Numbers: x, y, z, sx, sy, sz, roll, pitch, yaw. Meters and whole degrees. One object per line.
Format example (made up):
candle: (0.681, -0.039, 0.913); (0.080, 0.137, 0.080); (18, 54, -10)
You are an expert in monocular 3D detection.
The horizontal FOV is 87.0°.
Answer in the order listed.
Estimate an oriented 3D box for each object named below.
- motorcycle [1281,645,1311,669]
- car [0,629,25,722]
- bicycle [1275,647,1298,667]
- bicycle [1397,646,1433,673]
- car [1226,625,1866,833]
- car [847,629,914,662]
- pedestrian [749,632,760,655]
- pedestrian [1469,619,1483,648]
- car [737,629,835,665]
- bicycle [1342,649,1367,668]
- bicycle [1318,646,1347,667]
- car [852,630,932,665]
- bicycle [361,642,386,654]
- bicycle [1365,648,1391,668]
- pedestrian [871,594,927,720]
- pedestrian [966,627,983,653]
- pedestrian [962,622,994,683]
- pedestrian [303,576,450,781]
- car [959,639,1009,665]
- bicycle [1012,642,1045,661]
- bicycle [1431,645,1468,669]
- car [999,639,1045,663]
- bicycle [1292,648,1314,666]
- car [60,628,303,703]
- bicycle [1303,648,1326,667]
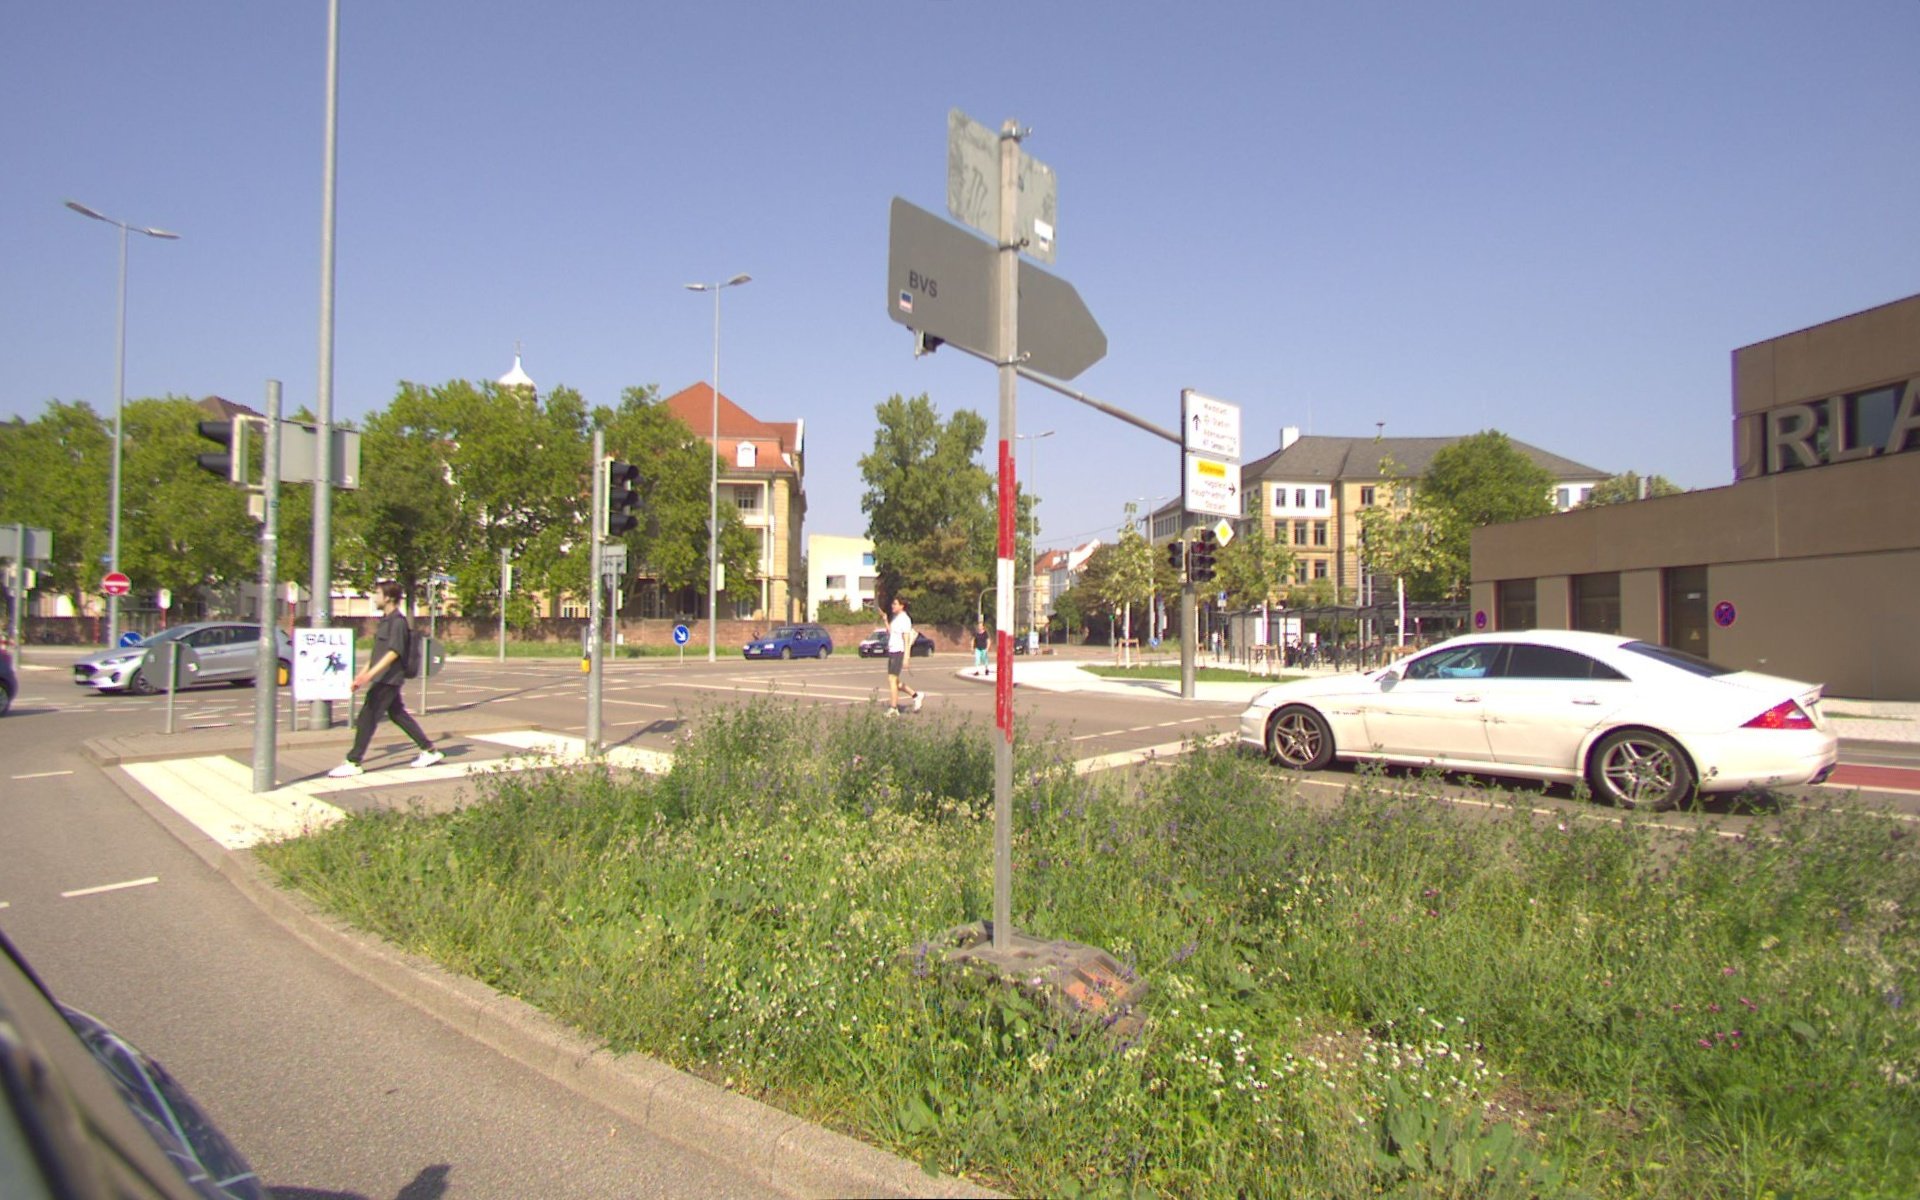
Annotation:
motorcycle: (14.629, 2.475, 44.088); (0.534, 1.017, 1.748); (0, -2, -7)
car: (-15.679, 1.143, 13.918); (1.618, 1.438, 4.321); (0, -1, 0)
bicycle: (16.120, 2.797, 50.017); (0.415, 0.975, 1.590); (0, -2, -7)
bicycle: (17.562, 2.302, 39.098); (0.395, 1.017, 1.748); (0, -2, -7)
car: (5.086, 0.949, 9.360); (1.821, 1.372, 4.822); (0, -1, -45)
car: (-4.460, 2.571, 57.145); (1.750, 1.691, 3.957); (-4, -4, 31)
pedestrian: (-14.959, 3.148, 73.757); (0.707, 1.696, 0.595); (0, -3, -4)
pedestrian: (31.626, 2.068, 62.023); (0.713, 1.762, 0.385); (-1, -3, 26)
car: (-6.786, 1.839, 39.972); (1.599, 1.339, 4.294); (-1, -2, 26)
bicycle: (18.696, 2.759, 48.010); (0.403, 0.899, 1.590); (0, -2, -7)
bicycle: (17.724, 2.692, 48.189); (0.525, 0.994, 1.716); (0, -2, -7)
car: (-3.142, 2.210, 47.649); (1.990, 1.564, 3.962); (-1, -2, 27)
bicycle: (-42.130, 3.424, 72.734); (1.529, 0.842, 0.433); (0, -3, 3)
bicycle: (19.862, 2.747, 48.075); (0.403, 0.899, 1.590); (0, -2, -7)
pedestrian: (-0.916, 0.851, 15.265); (0.567, 1.847, 0.688); (-2, -3, 26)
pedestrian: (1.123, 3.104, 78.886); (0.821, 2.029, 0.895); (-5, -5, 42)
pedestrian: (0.491, 1.410, 27.302); (0.746, 1.577, 0.665); (1, -2, 10)
pedestrian: (-5.646, 0.717, 9.800); (1.066, 1.854, 0.730); (-1, -2, -43)
car: (1.704, 3.614, 70.603); (1.750, 1.691, 3.957); (-4, -4, 31)
bicycle: (4.666, 3.496, 68.911); (0.884, 1.214, 3.045); (-4, -4, 31)
bicycle: (20.928, 2.432, 43.320); (0.454, 1.017, 1.877); (0, -2, -7)
car: (4.671, 3.828, 75.688); (1.750, 1.691, 3.957); (-4, -4, 31)
bicycle: (16.947, 2.814, 50.059); (0.395, 0.899, 1.590); (0, -2, -7)
car: (-16.707, 1.335, 21.929); (1.713, 1.444, 3.823); (-1, -2, 28)
bicycle: (17.533, 2.828, 50.063); (0.403, 0.899, 1.590); (0, -2, -7)
